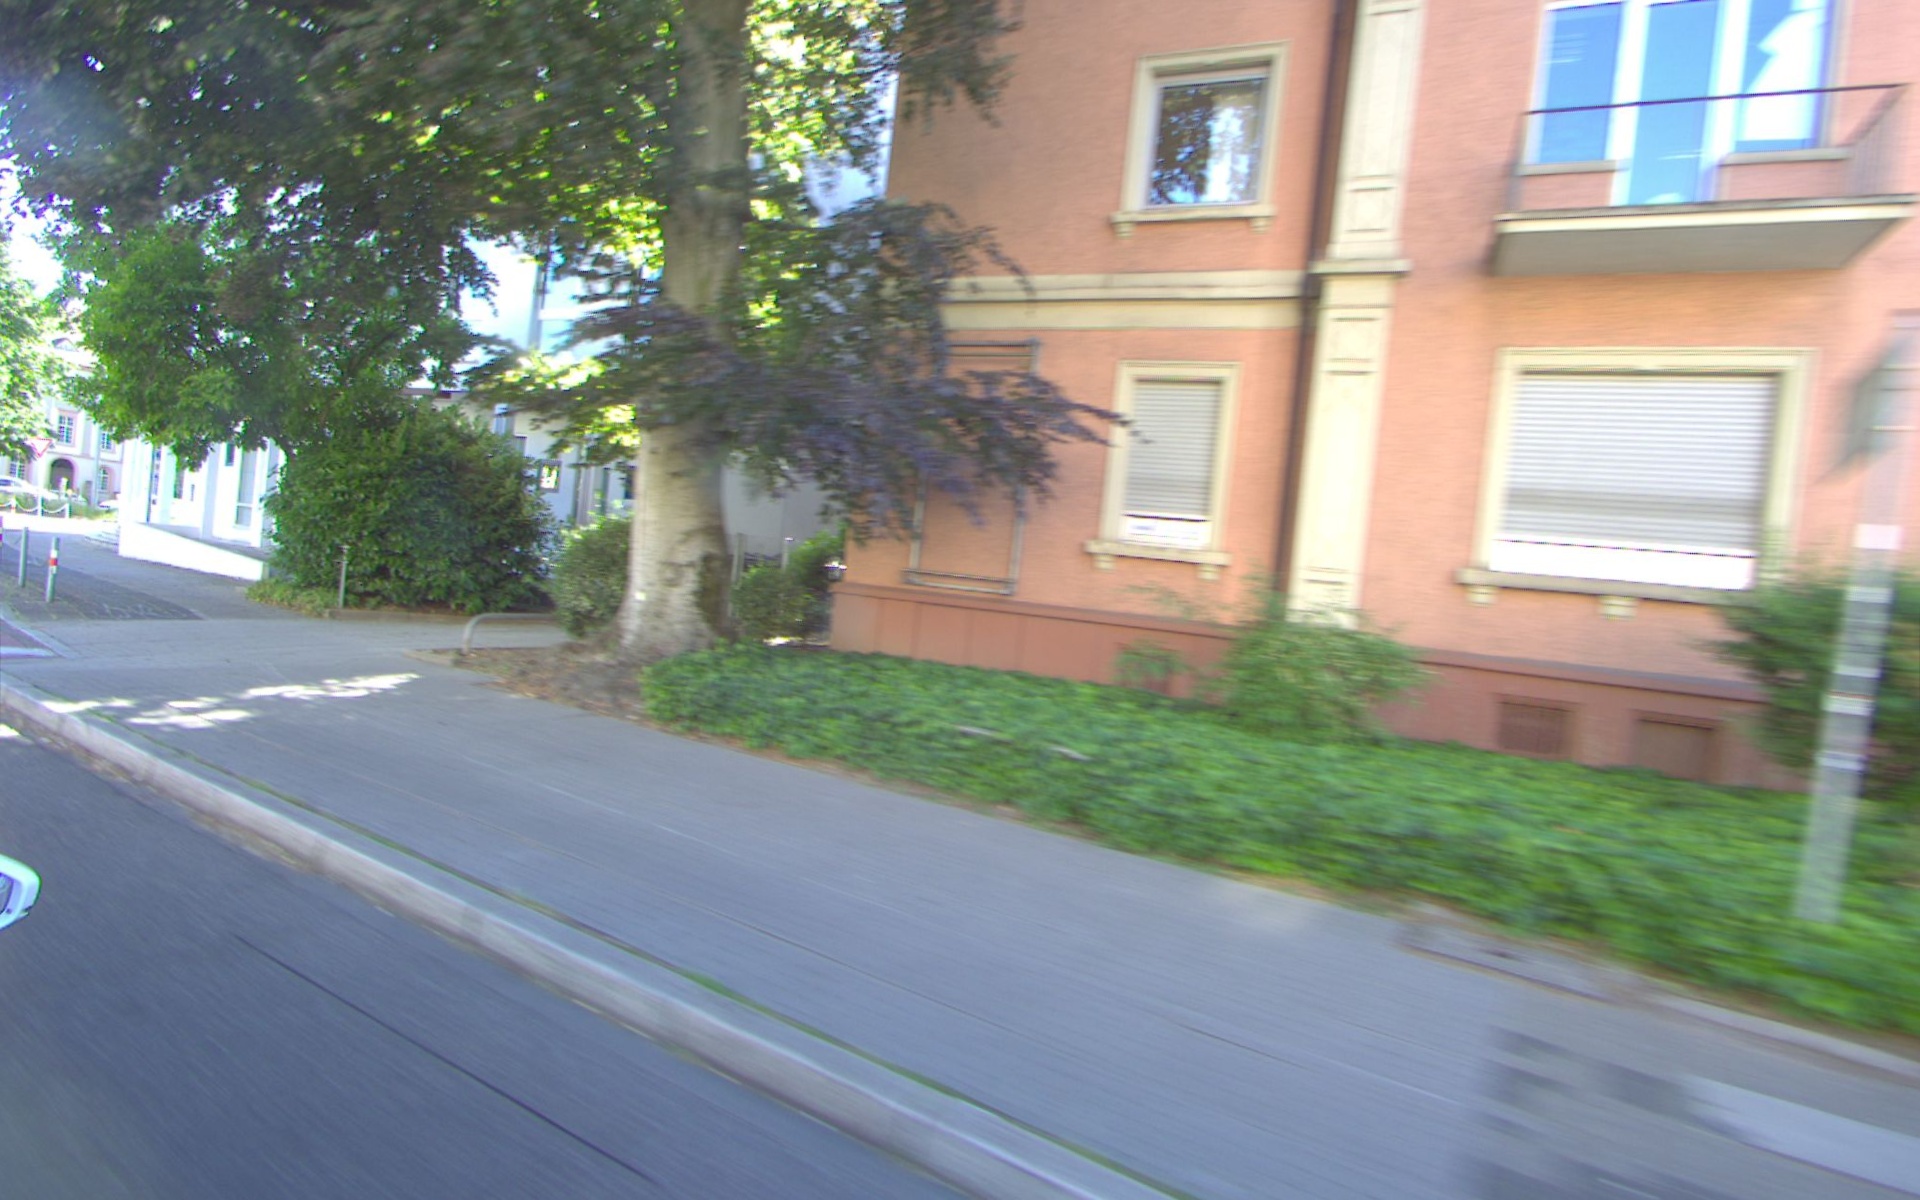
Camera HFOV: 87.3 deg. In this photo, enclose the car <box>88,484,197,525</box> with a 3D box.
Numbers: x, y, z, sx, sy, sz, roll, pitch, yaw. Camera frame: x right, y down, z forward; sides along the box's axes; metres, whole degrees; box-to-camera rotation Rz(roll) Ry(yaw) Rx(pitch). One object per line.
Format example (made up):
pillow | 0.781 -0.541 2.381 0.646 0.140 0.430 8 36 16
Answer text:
car | -44.002 -5.109 54.235 1.788 1.527 4.187 7 0 18
